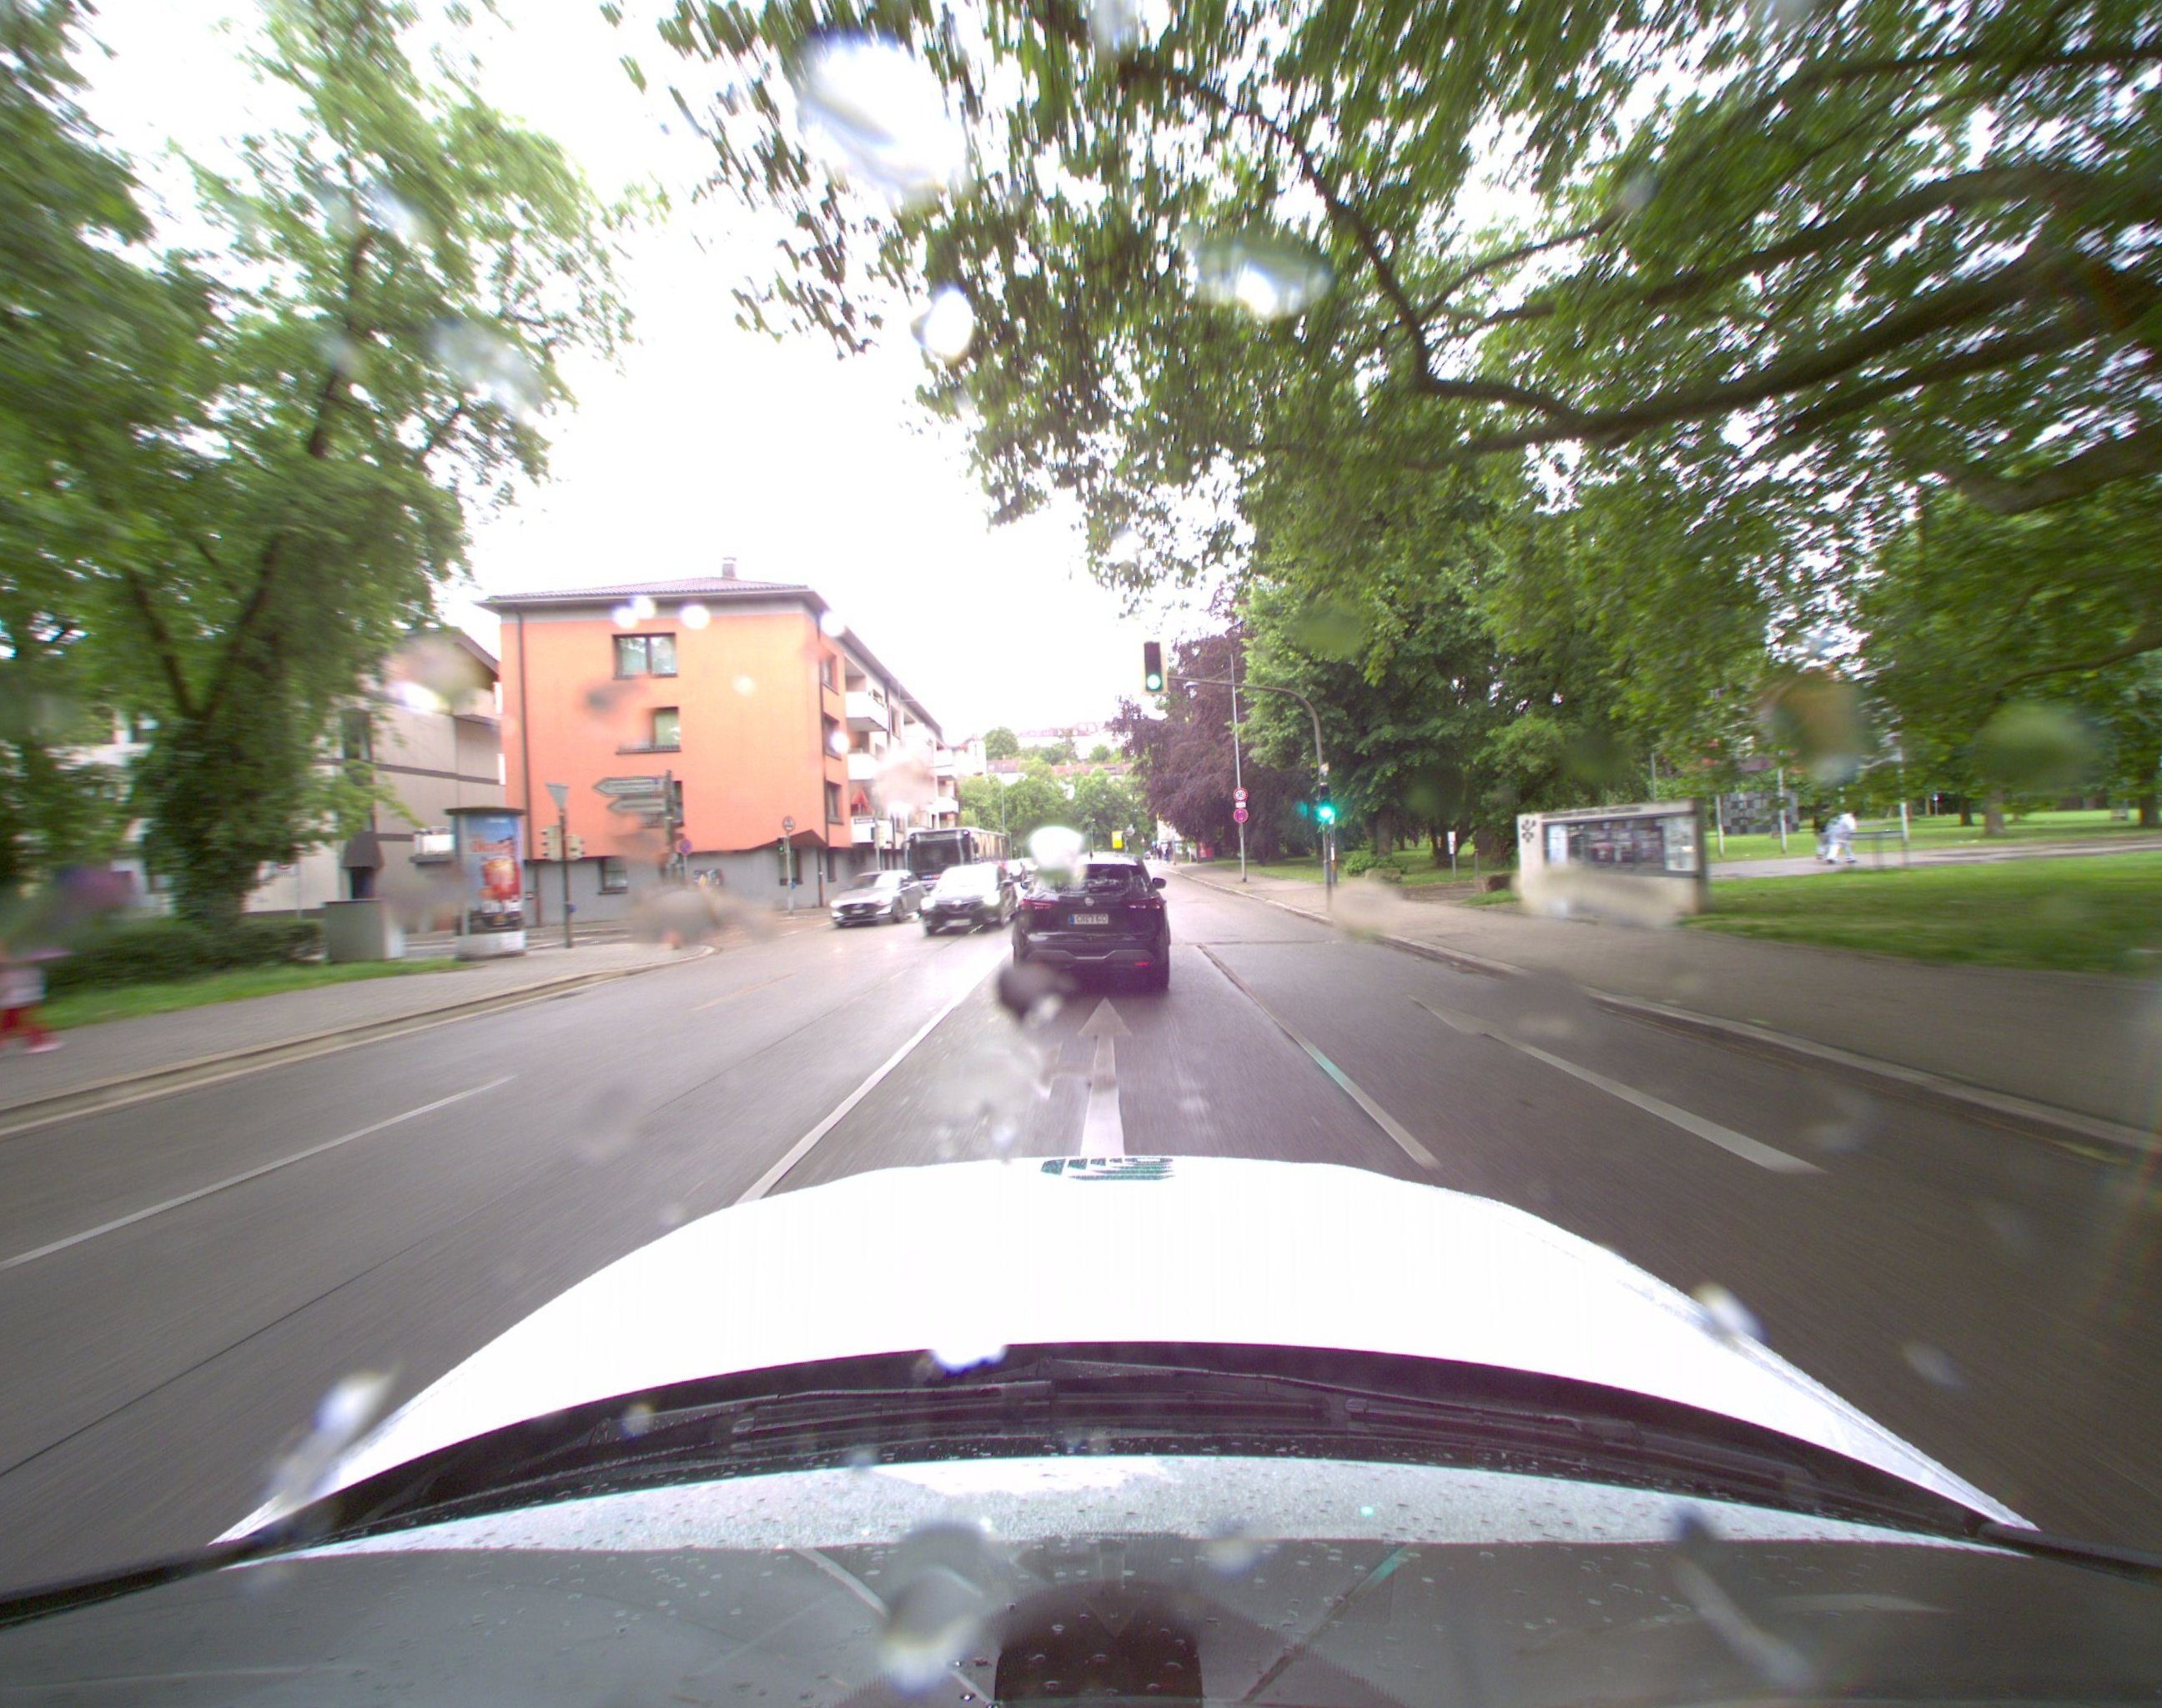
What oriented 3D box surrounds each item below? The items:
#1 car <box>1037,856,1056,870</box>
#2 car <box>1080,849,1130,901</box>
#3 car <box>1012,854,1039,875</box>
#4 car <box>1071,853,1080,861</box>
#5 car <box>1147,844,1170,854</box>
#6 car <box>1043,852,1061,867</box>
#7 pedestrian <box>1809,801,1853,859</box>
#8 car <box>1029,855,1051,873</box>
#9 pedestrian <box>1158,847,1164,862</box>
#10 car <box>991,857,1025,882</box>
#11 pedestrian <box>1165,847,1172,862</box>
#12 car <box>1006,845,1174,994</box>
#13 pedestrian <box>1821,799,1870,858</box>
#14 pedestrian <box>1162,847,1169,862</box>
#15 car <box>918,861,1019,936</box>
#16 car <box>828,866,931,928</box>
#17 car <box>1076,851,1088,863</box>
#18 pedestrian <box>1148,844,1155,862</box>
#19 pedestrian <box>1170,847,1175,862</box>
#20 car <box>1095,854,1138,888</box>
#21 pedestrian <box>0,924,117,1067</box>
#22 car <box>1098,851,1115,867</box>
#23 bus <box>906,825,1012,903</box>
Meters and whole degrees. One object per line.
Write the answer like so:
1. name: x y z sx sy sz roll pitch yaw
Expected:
1. car: -3.562 0.908 84.824 1.671 1.296 3.751 -4 0 0
2. car: 0.934 0.726 29.901 1.615 1.709 3.774 -4 0 3
3. car: -4.339 0.787 64.225 1.741 1.469 4.217 -4 0 0
4. car: -1.078 0.643 156.662 1.713 1.468 3.684 -4 0 0
5. car: 15.302 -0.945 160.534 3.986 1.684 1.994 -4 0 -9
6. car: -3.450 0.625 97.034 1.743 1.633 3.636 -3 0 2
7. pedestrian: 23.119 -0.739 25.122 0.663 1.756 0.722 0 -1 -7
8. car: -3.750 0.890 75.332 1.671 1.469 4.217 -4 0 0
9. pedestrian: 8.687 0.049 88.230 0.542 1.651 0.490 -1 -1 2
10. car: -4.797 0.990 54.201 1.769 1.469 4.217 -4 0 0
11. pedestrian: 9.471 0.043 88.414 0.696 1.651 0.628 -1 -1 2
12. car: 0.147 0.727 10.796 1.799 1.590 4.001 -1 -1 1
13. pedestrian: 22.639 -0.746 24.116 0.663 1.712 0.788 0 -1 -7
14. pedestrian: 10.350 0.066 99.859 0.616 1.779 0.778 -4 0 1
15. car: -2.449 0.929 18.502 1.618 1.415 3.456 -4 0 2
16. car: -5.645 1.143 23.291 1.803 1.417 4.030 -4 0 0
17. car: 0.169 0.475 127.535 1.757 1.758 3.636 -3 0 2
18. pedestrian: 8.606 -0.097 99.149 0.765 2.183 0.712 -1 -1 4
19. pedestrian: 9.756 0.044 86.621 0.513 1.655 0.550 -1 -1 1
20. car: 1.607 0.753 37.849 1.802 1.417 4.030 -2 0 0
21. pedestrian: -9.712 1.272 7.498 0.682 1.175 0.827 -1 0 1
22. car: 2.513 0.454 79.938 1.618 1.415 3.456 -4 0 2
23. bus: -5.326 0.422 38.230 2.756 2.974 11.784 -3 0 1
